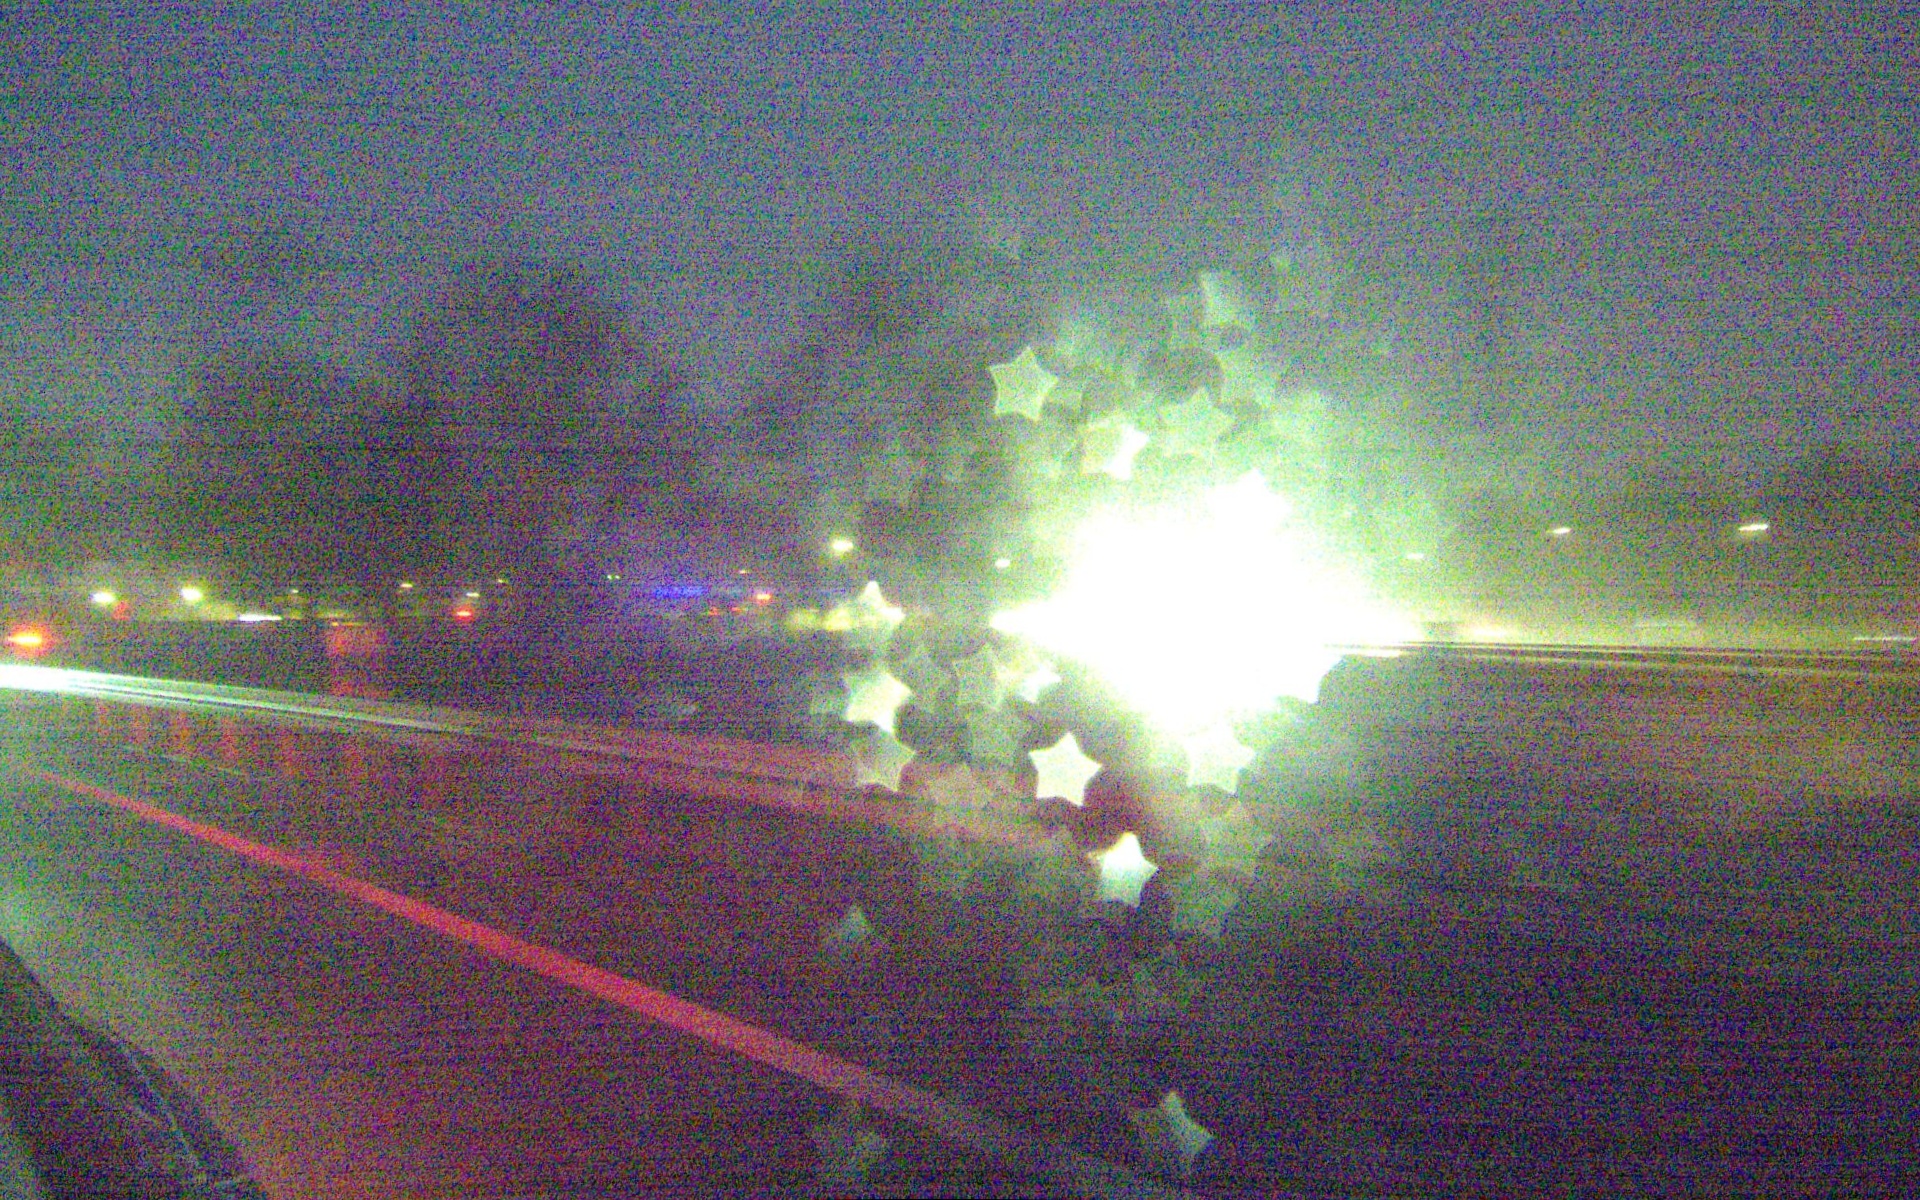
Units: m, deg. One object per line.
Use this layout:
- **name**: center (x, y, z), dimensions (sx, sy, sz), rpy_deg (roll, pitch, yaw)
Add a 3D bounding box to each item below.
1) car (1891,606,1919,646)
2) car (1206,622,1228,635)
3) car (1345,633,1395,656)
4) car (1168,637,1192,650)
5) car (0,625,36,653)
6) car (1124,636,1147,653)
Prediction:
- **car**: center (47.576, 1.233, 48.493), dimensions (1.890, 1.918, 4.006), rpy_deg (-2, -1, -7)
- **car**: center (41.457, 4.624, 163.067), dimensions (1.970, 2.029, 4.475), rpy_deg (-2, -1, -5)
- **car**: center (29.444, 3.171, 72.811), dimensions (1.702, 1.608, 4.003), rpy_deg (0, -2, -3)
- **car**: center (27.166, 5.378, 125.018), dimensions (1.894, 1.608, 4.003), rpy_deg (0, -2, -4)
- **car**: center (-59.926, 2.474, 63.985), dimensions (3.998, 1.652, 1.736), rpy_deg (-3, -2, 41)
- **car**: center (22.275, 5.612, 128.818), dimensions (1.970, 2.029, 4.003), rpy_deg (-2, -1, -3)
